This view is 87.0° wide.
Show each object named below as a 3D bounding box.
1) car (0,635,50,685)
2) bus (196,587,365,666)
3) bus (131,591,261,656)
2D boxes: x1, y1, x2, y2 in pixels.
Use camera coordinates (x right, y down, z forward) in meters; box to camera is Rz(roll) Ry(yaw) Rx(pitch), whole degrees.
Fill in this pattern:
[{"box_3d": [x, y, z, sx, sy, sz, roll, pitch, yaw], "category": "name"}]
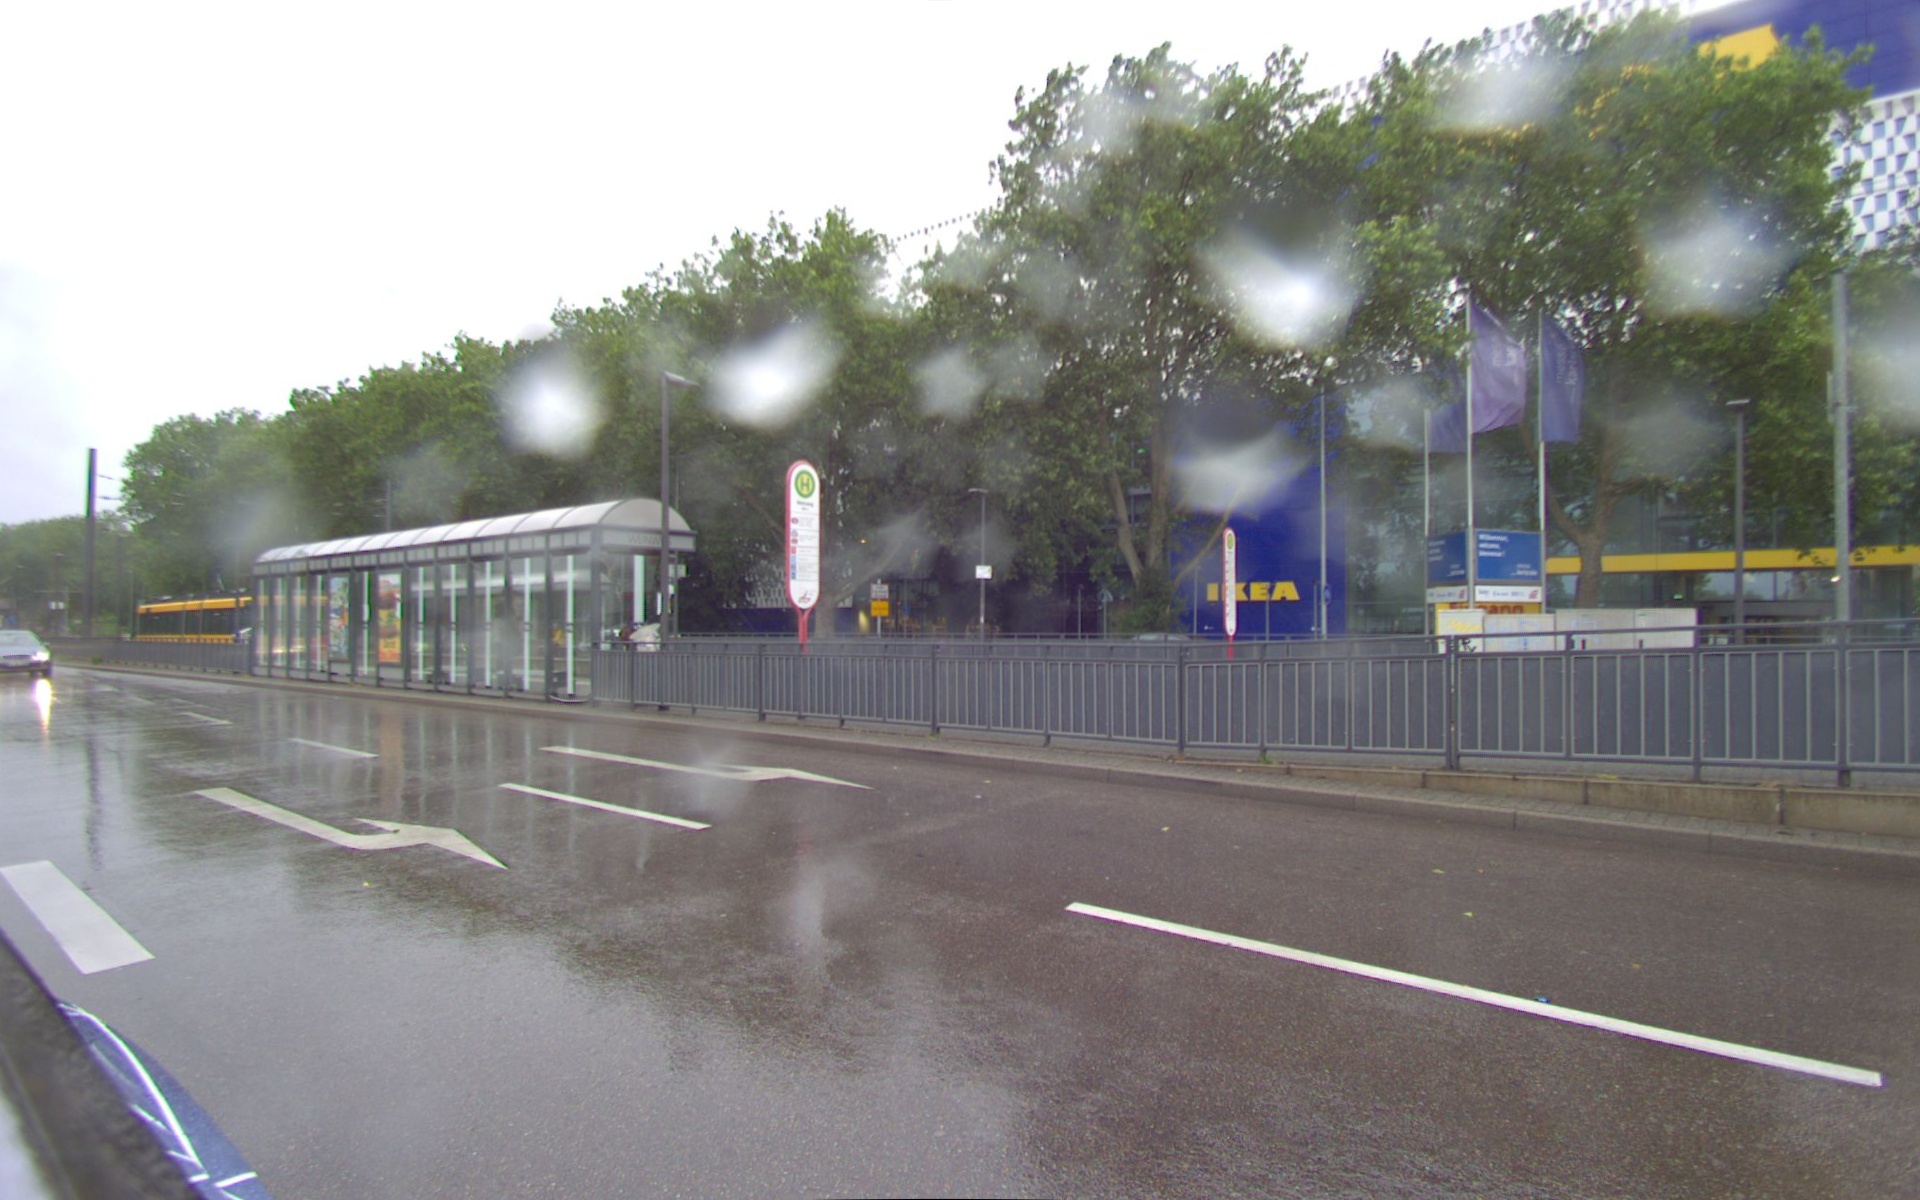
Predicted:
[{"box_3d": [-29.986, 1.851, 31.741, 4.645, 1.409, 1.743, -1, 0, 43], "category": "car"}, {"box_3d": [-33.220, 1.179, 49.004, 15.054, 3.354, 2.901, -1, 0, 41], "category": "bus"}, {"box_3d": [-44.668, 1.300, 58.832, 15.054, 3.354, 2.901, -1, 0, 41], "category": "bus"}]
